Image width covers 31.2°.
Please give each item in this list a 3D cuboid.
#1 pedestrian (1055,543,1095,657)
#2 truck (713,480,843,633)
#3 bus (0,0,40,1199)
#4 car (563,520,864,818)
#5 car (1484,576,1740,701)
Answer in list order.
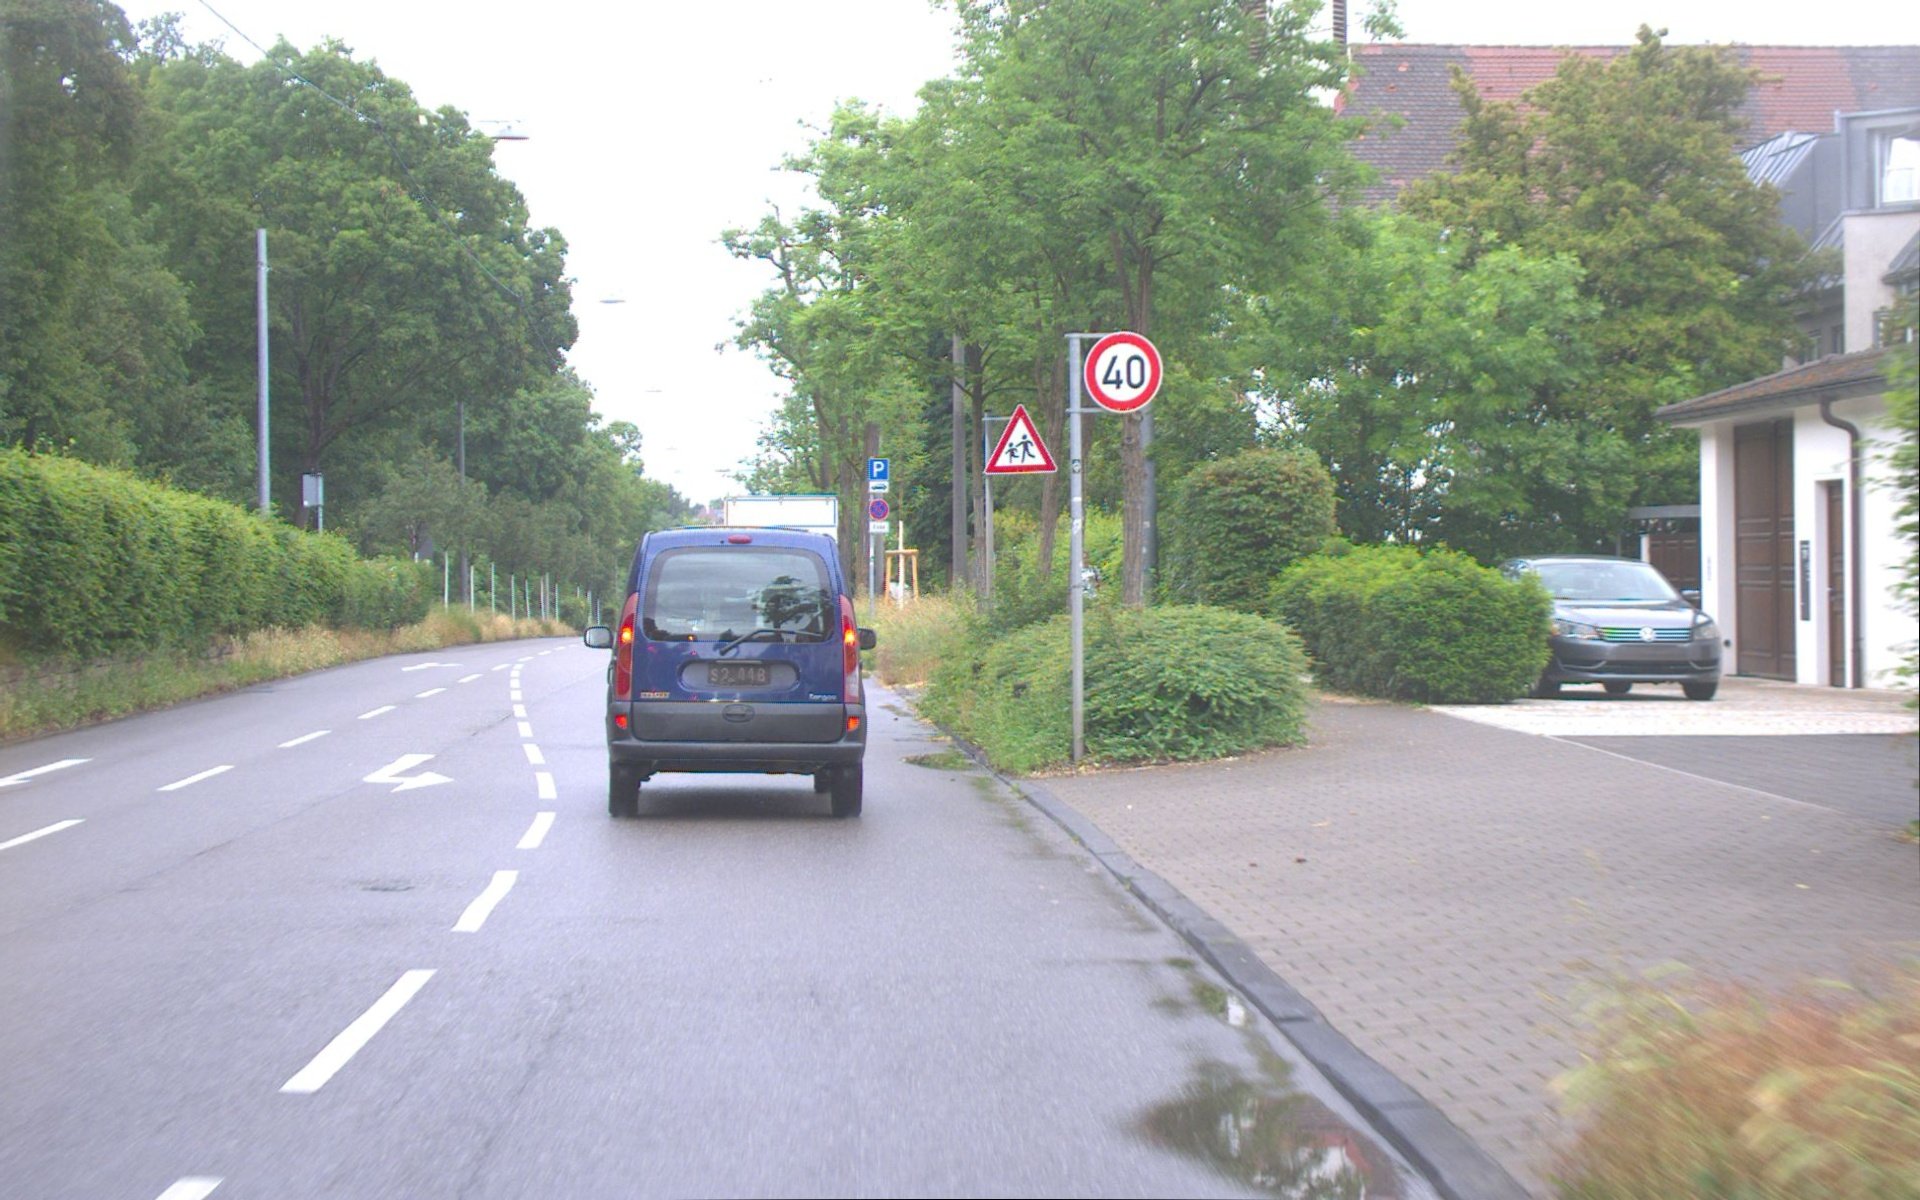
[{"bbox_3d":[1.726,0.000,51.474,0.561,1.702,0.516,0,0,5],"label":"pedestrian"},{"bbox_3d":[-4.296,-0.986,80.114,2.731,3.375,6.686,-1,0,-5],"label":"truck"},{"bbox_3d":[-3.205,-0.098,3.109,2.594,3.147,8.636,1,0,-1],"label":"bus"},{"bbox_3d":[-1.570,0.406,22.936,1.808,1.791,4.000,-1,0,-2],"label":"car"},{"bbox_3d":[6.559,0.355,34.985,1.831,1.172,4.000,1,0,0],"label":"car"}]
